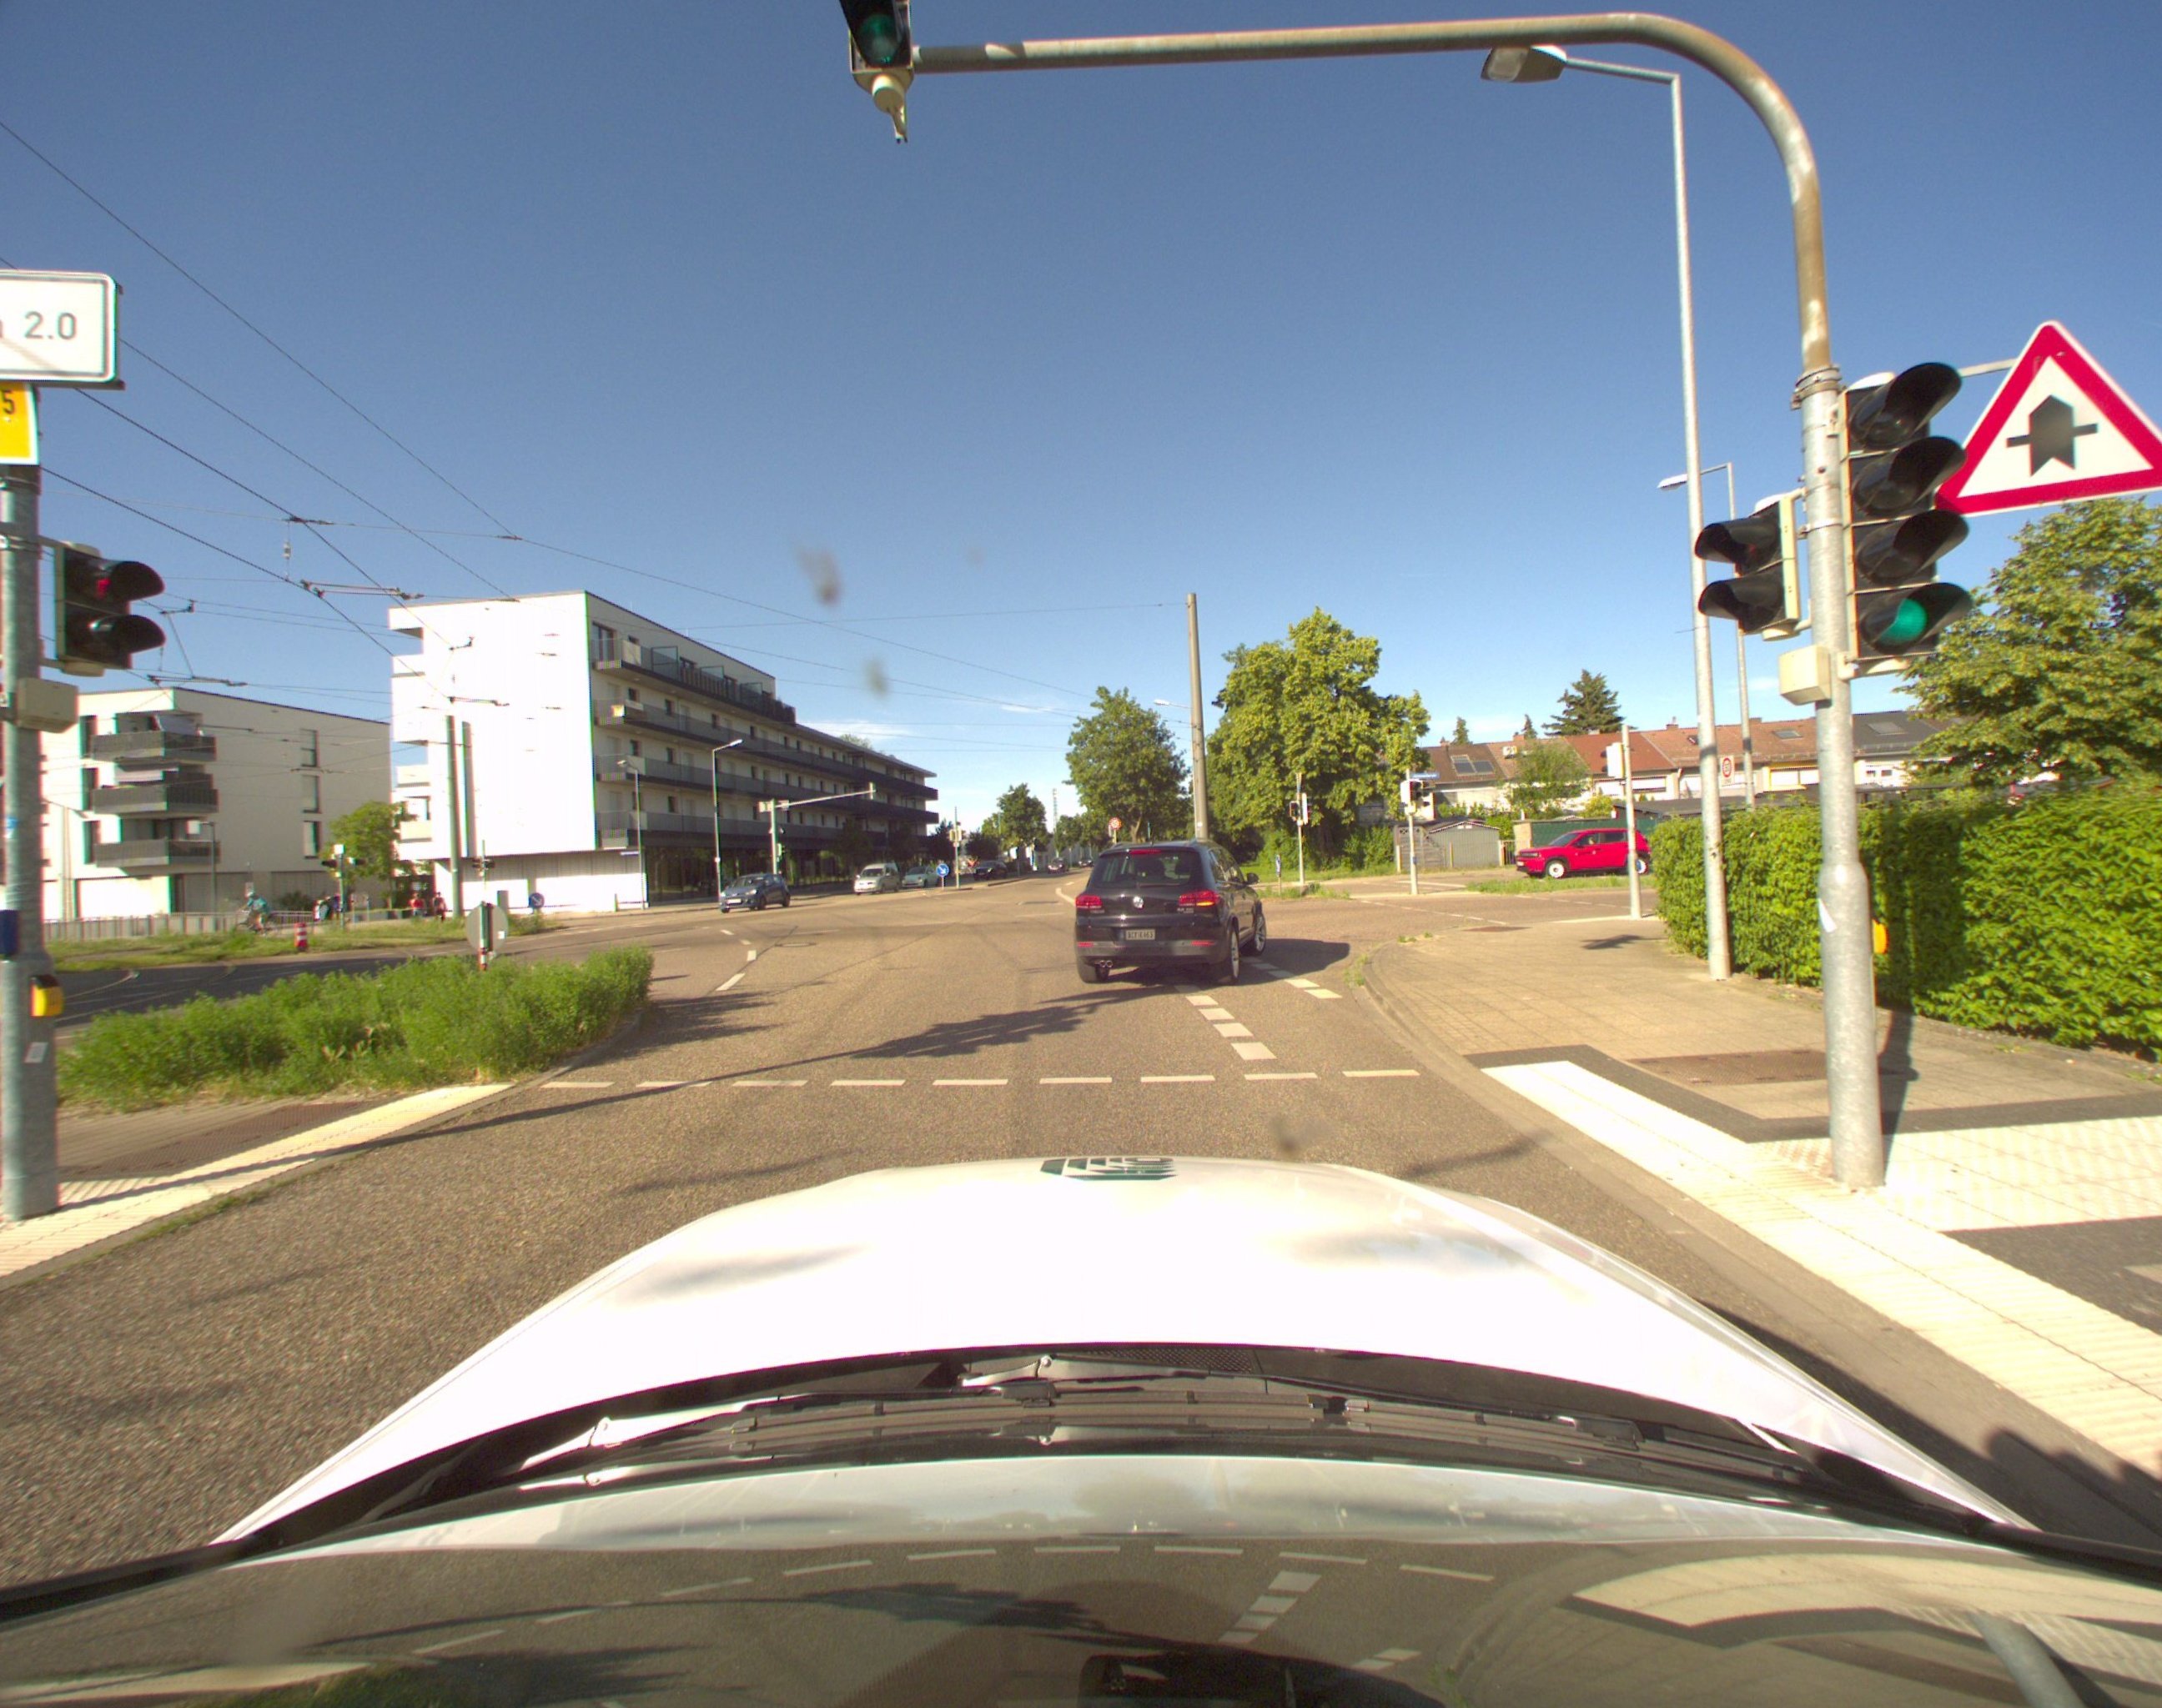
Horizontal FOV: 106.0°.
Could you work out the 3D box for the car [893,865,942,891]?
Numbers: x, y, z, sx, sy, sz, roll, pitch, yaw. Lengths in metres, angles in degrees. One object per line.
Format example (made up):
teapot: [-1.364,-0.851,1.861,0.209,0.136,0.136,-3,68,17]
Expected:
car: [-11.144,1.599,55.657,1.981,1.487,3.554,-5,-1,10]

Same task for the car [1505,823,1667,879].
car: [16.764,-0.096,27.238,4.144,1.588,1.950,-3,0,7]

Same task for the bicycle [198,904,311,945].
bicycle: [-30.466,2.572,30.099,0.894,1.198,2.835,-3,-1,13]

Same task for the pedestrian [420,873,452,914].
pedestrian: [-28.379,1.733,35.828,0.638,1.733,0.957,-2,-1,34]

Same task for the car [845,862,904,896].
car: [-12.002,1.407,47.652,1.984,1.755,4.367,-3,-1,4]

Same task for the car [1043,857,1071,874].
car: [-2.466,1.190,84.975,1.980,1.571,4.013,-3,-1,11]

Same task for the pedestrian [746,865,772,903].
pedestrian: [-17.632,1.632,44.624,0.973,2.013,0.761,-3,-1,1]

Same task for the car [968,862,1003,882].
car: [-8.205,1.549,70.564,1.957,1.534,4.748,-3,-1,6]

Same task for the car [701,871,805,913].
car: [-13.308,1.503,33.380,1.684,1.456,4.467,-3,-1,11]

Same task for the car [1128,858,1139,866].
car: [11.650,1.792,180.438,1.884,1.758,4.010,-1,-1,9]

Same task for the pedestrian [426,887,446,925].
pedestrian: [-28.406,2.282,35.861,0.455,1.622,0.504,-1,-1,1]

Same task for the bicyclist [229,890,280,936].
bicyclist: [-30.496,2.159,30.060,0.886,1.592,0.916,-3,-1,12]

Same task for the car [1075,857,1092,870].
car: [0.368,1.416,120.798,1.984,1.737,5.207,-3,0,6]

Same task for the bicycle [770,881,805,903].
bicycle: [-16.415,2.119,45.595,1.635,1.144,0.743,-3,-1,-6]

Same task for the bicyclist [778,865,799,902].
bicyclist: [-16.384,1.660,45.611,0.791,2.013,0.810,-3,-1,-6]

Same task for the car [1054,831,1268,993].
car: [1.308,0.600,10.771,1.914,1.654,4.534,-2,0,17]
